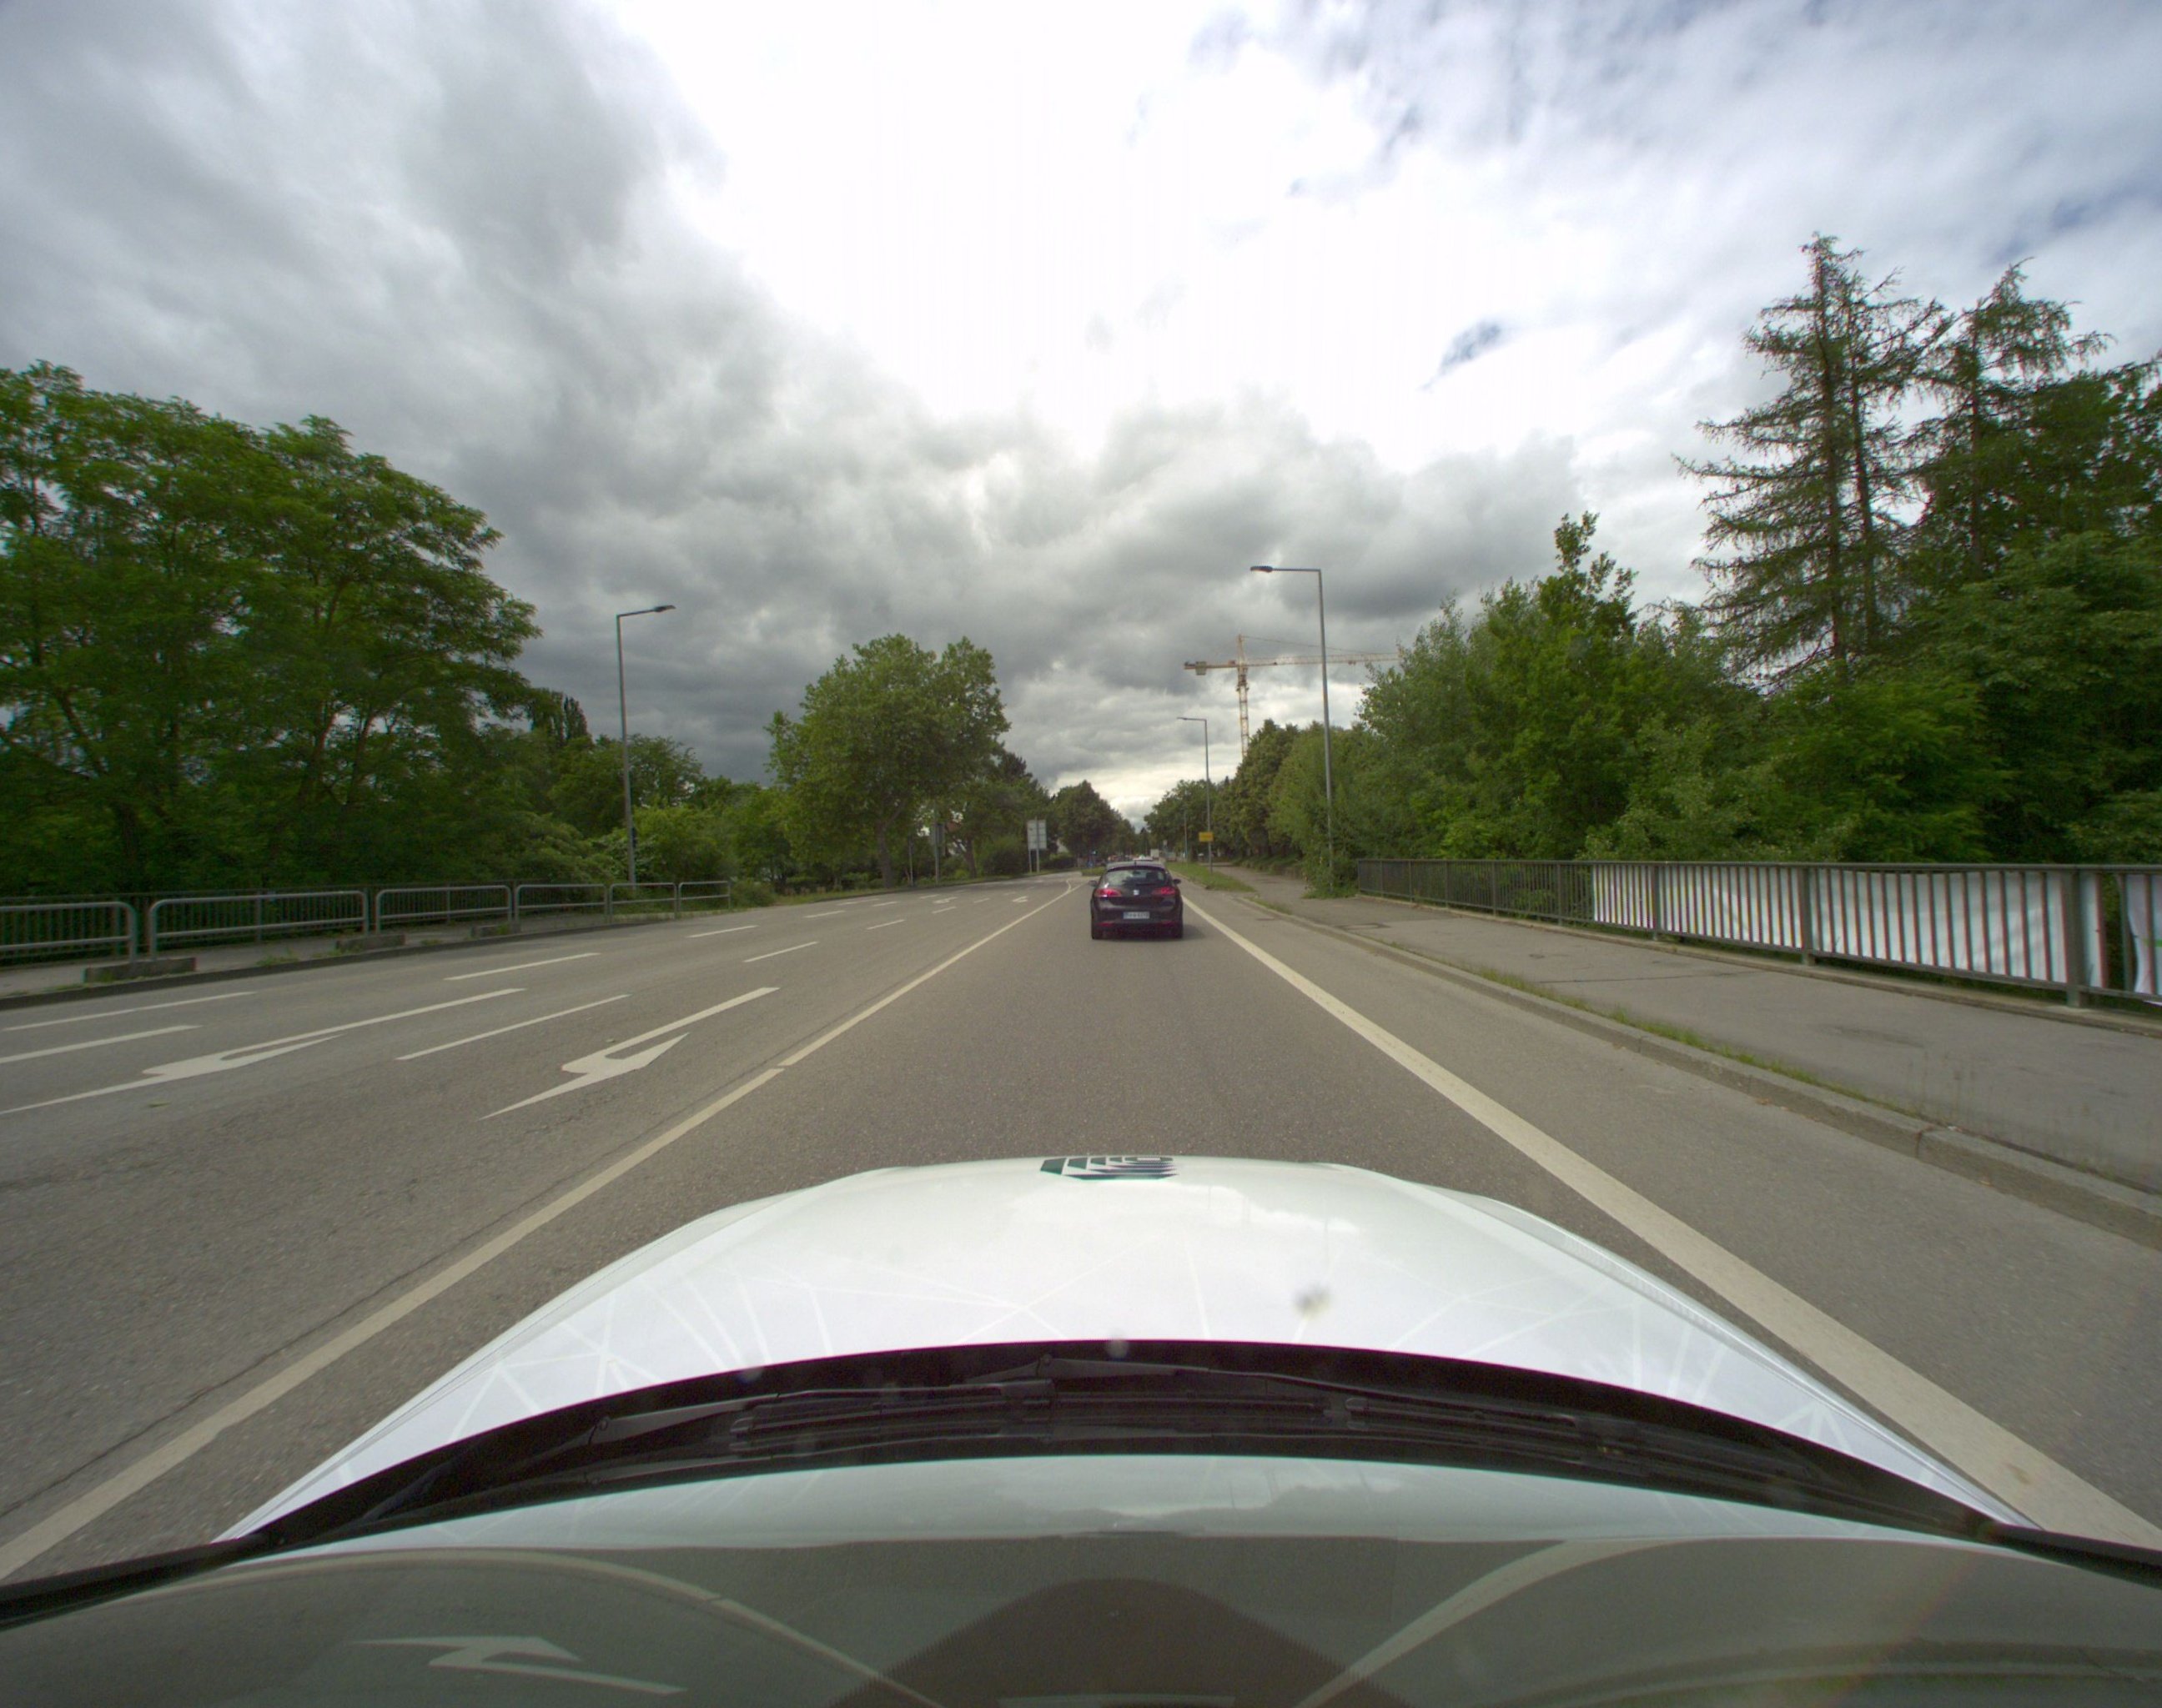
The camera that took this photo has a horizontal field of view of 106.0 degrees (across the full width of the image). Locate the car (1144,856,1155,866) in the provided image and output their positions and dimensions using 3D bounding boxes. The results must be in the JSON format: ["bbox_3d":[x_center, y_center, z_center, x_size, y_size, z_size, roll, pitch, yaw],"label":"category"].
[{"bbox_3d":[12.985,1.343,153.608,1.872,1.689,4.220,-2,0,6],"label":"car"}]

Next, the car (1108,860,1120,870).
[{"bbox_3d":[6.997,2.297,173.795,2.089,1.896,5.793,-4,-1,6],"label":"car"}]

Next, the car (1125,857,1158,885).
[{"bbox_3d":[3.517,0.957,47.276,1.837,1.510,3.816,-1,-1,5],"label":"car"}]

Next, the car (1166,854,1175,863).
[{"bbox_3d":[18.976,0.928,172.375,1.679,1.711,4.220,-2,0,6],"label":"car"}]

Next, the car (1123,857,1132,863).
[{"bbox_3d":[13.172,1.660,230.856,2.089,1.506,5.793,-4,-1,6],"label":"car"}]

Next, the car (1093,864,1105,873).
[{"bbox_3d":[3.237,2.538,144.805,1.709,1.395,4.809,-4,-1,6],"label":"car"}]

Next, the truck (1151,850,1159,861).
[{"bbox_3d":[20.808,0.491,228.547,2.268,3.104,8.523,-1,-1,5],"label":"truck"}]

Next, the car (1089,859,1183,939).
[{"bbox_3d":[1.099,0.810,16.398,1.655,1.401,3.815,-1,-1,4],"label":"car"}]

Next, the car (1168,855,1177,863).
[{"bbox_3d":[18.817,1.021,167.246,1.679,1.490,3.360,-2,0,6],"label":"car"}]
